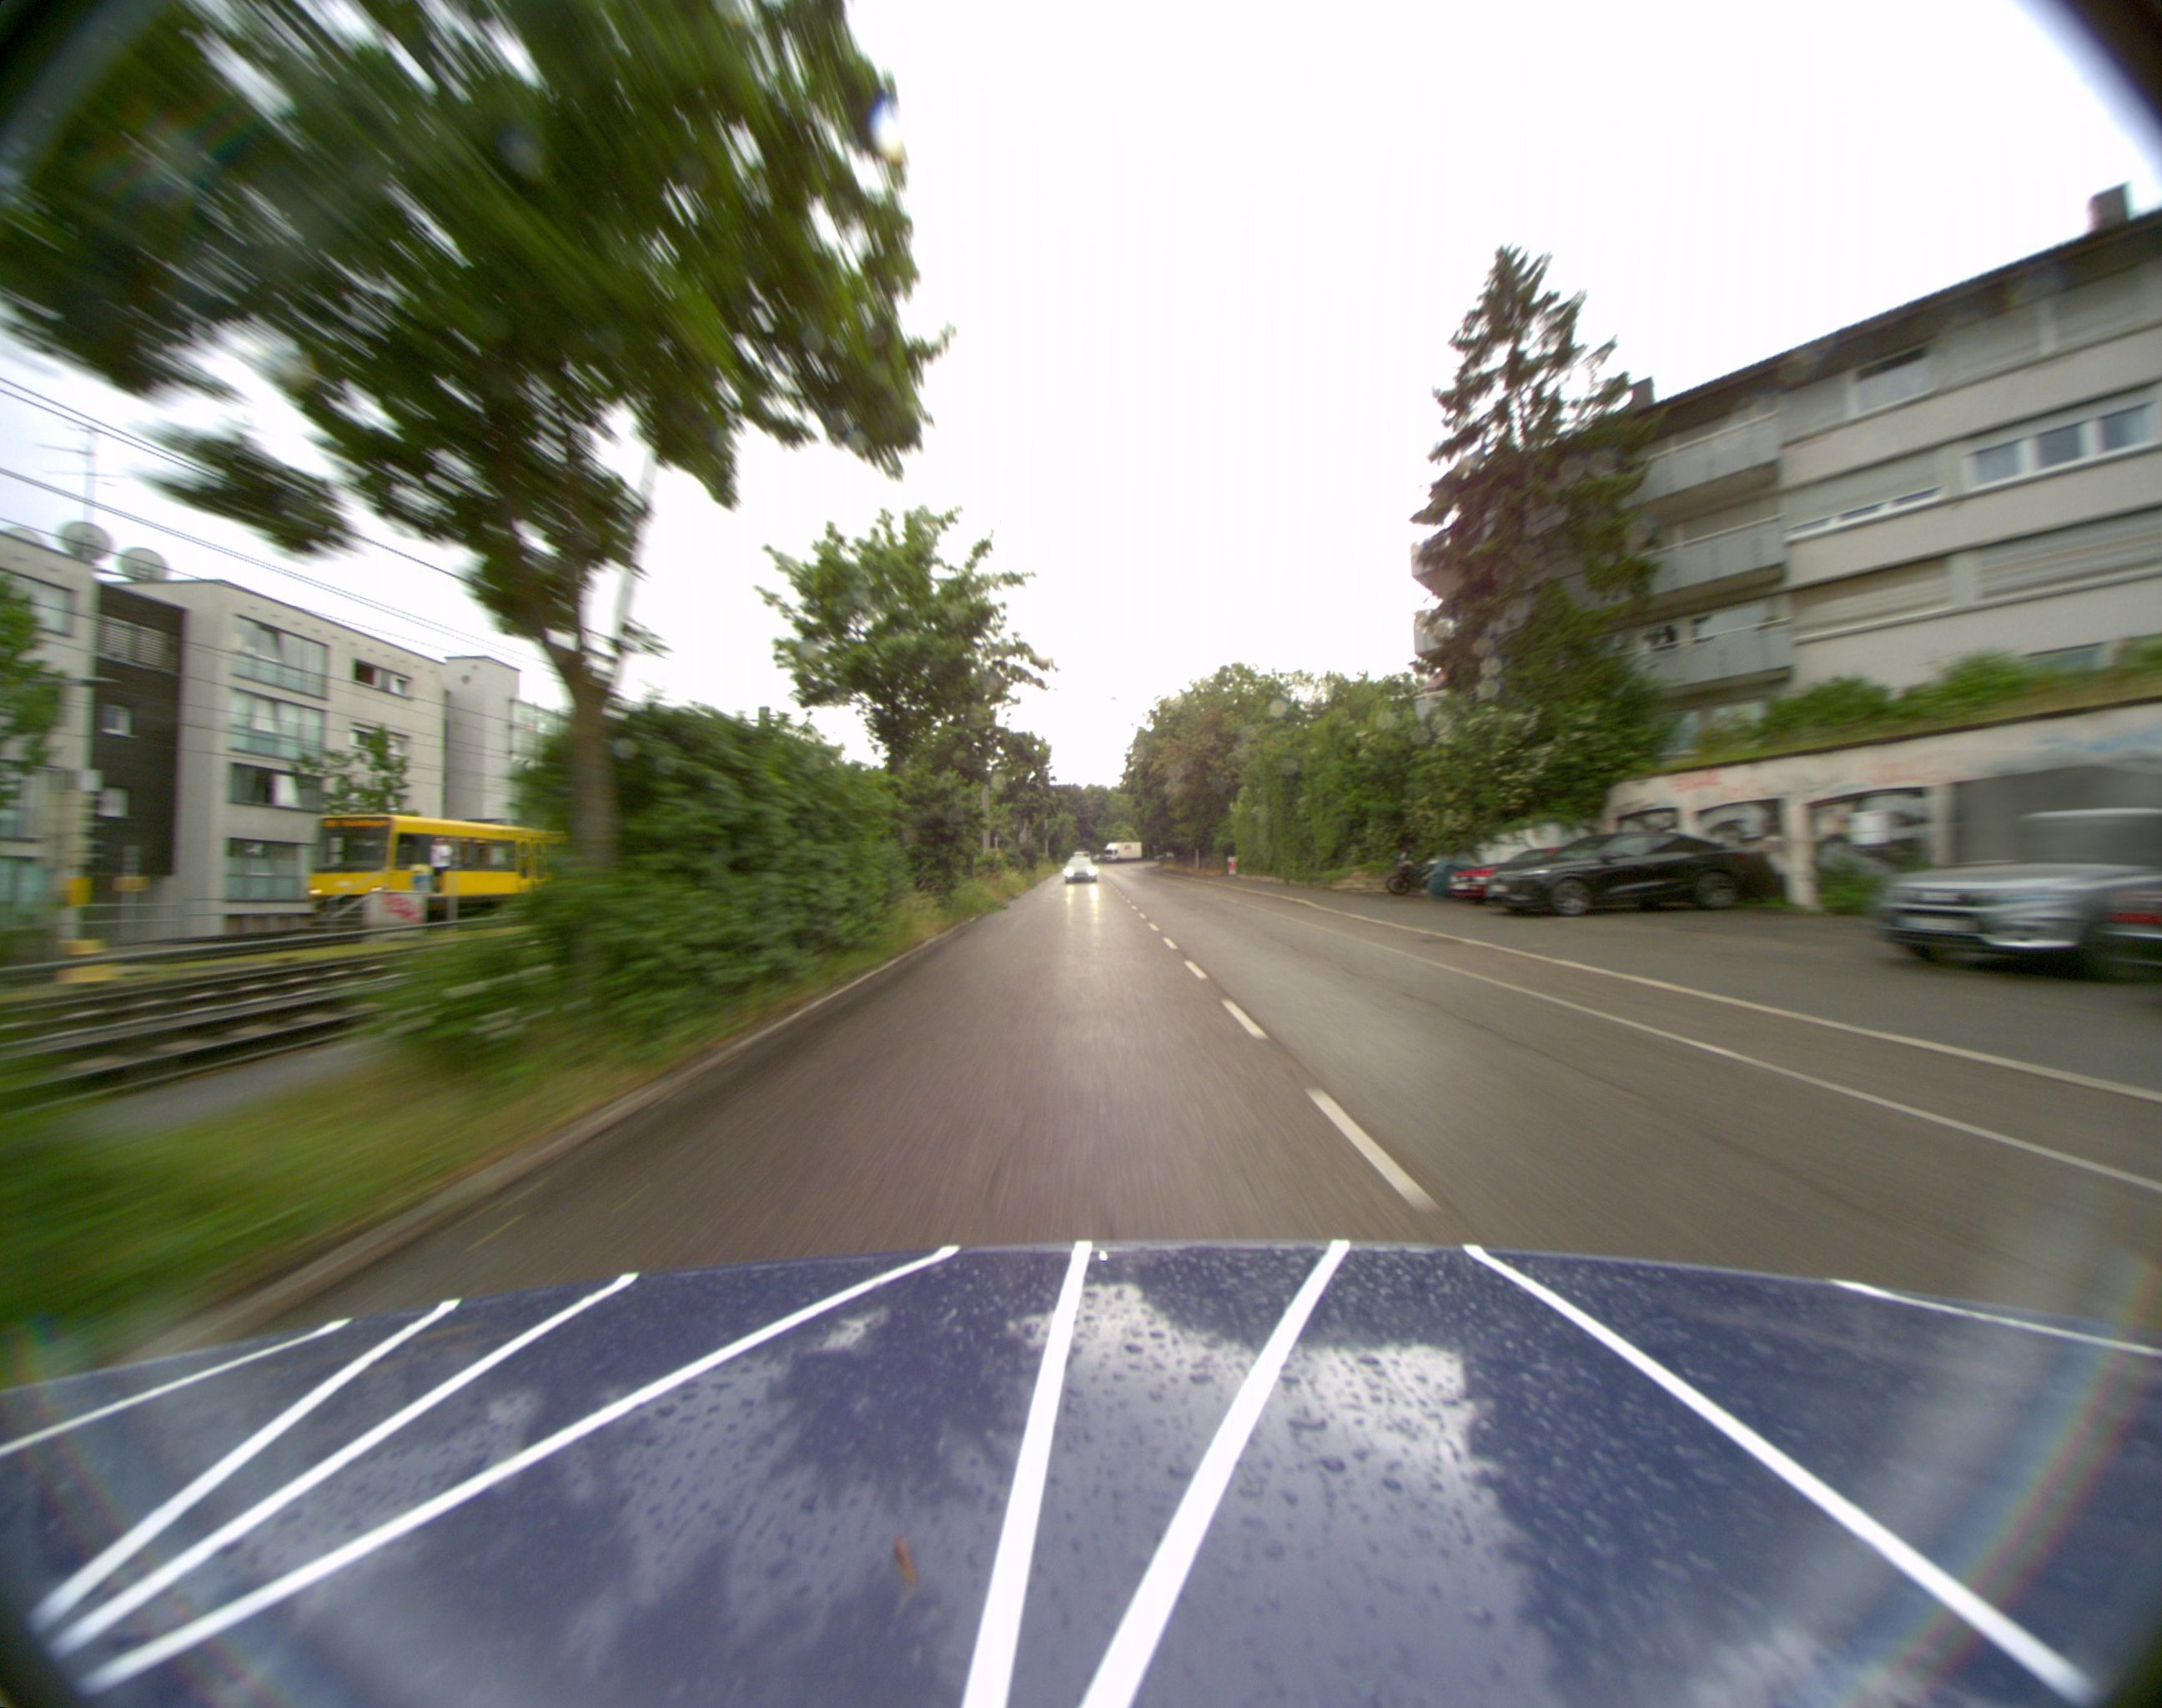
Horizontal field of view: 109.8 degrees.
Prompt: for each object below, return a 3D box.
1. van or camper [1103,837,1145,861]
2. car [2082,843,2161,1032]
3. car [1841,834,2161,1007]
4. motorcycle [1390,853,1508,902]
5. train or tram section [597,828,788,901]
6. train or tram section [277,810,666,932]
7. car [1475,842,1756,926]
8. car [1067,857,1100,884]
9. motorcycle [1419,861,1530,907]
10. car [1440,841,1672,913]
[{"bbox_3d":[7.388,-0.914,129.148,2.882,3.915,8.160,-1,1,37],"label":"van or camper"},{"bbox_3d":[10.794,0.576,5.508,4.496,1.481,1.848,-3,1,2],"label":"car"},{"bbox_3d":[10.965,0.577,7.882,4.440,1.519,1.774,-2,0,-1],"label":"car"},{"bbox_3d":[10.374,0.657,21.557,2.806,1.265,1.280,-2,1,16],"label":"motorcycle"},{"bbox_3d":[-21.759,0.507,44.376,3.114,3.478,14.858,-2,0,1],"label":"train or tram section"},{"bbox_3d":[-22.079,0.514,29.829,3.204,3.540,14.503,-2,0,1],"label":"train or tram section"},{"bbox_3d":[10.765,0.580,15.542,4.439,1.519,1.775,-2,0,1],"label":"car"},{"bbox_3d":[0.191,1.027,47.201,1.861,1.468,4.001,-4,-2,1],"label":"car"},{"bbox_3d":[10.213,0.779,19.796,2.460,1.102,0.661,-2,1,8],"label":"motorcycle"},{"bbox_3d":[11.303,0.525,18.318,4.439,1.519,1.775,-2,0,1],"label":"car"}]
